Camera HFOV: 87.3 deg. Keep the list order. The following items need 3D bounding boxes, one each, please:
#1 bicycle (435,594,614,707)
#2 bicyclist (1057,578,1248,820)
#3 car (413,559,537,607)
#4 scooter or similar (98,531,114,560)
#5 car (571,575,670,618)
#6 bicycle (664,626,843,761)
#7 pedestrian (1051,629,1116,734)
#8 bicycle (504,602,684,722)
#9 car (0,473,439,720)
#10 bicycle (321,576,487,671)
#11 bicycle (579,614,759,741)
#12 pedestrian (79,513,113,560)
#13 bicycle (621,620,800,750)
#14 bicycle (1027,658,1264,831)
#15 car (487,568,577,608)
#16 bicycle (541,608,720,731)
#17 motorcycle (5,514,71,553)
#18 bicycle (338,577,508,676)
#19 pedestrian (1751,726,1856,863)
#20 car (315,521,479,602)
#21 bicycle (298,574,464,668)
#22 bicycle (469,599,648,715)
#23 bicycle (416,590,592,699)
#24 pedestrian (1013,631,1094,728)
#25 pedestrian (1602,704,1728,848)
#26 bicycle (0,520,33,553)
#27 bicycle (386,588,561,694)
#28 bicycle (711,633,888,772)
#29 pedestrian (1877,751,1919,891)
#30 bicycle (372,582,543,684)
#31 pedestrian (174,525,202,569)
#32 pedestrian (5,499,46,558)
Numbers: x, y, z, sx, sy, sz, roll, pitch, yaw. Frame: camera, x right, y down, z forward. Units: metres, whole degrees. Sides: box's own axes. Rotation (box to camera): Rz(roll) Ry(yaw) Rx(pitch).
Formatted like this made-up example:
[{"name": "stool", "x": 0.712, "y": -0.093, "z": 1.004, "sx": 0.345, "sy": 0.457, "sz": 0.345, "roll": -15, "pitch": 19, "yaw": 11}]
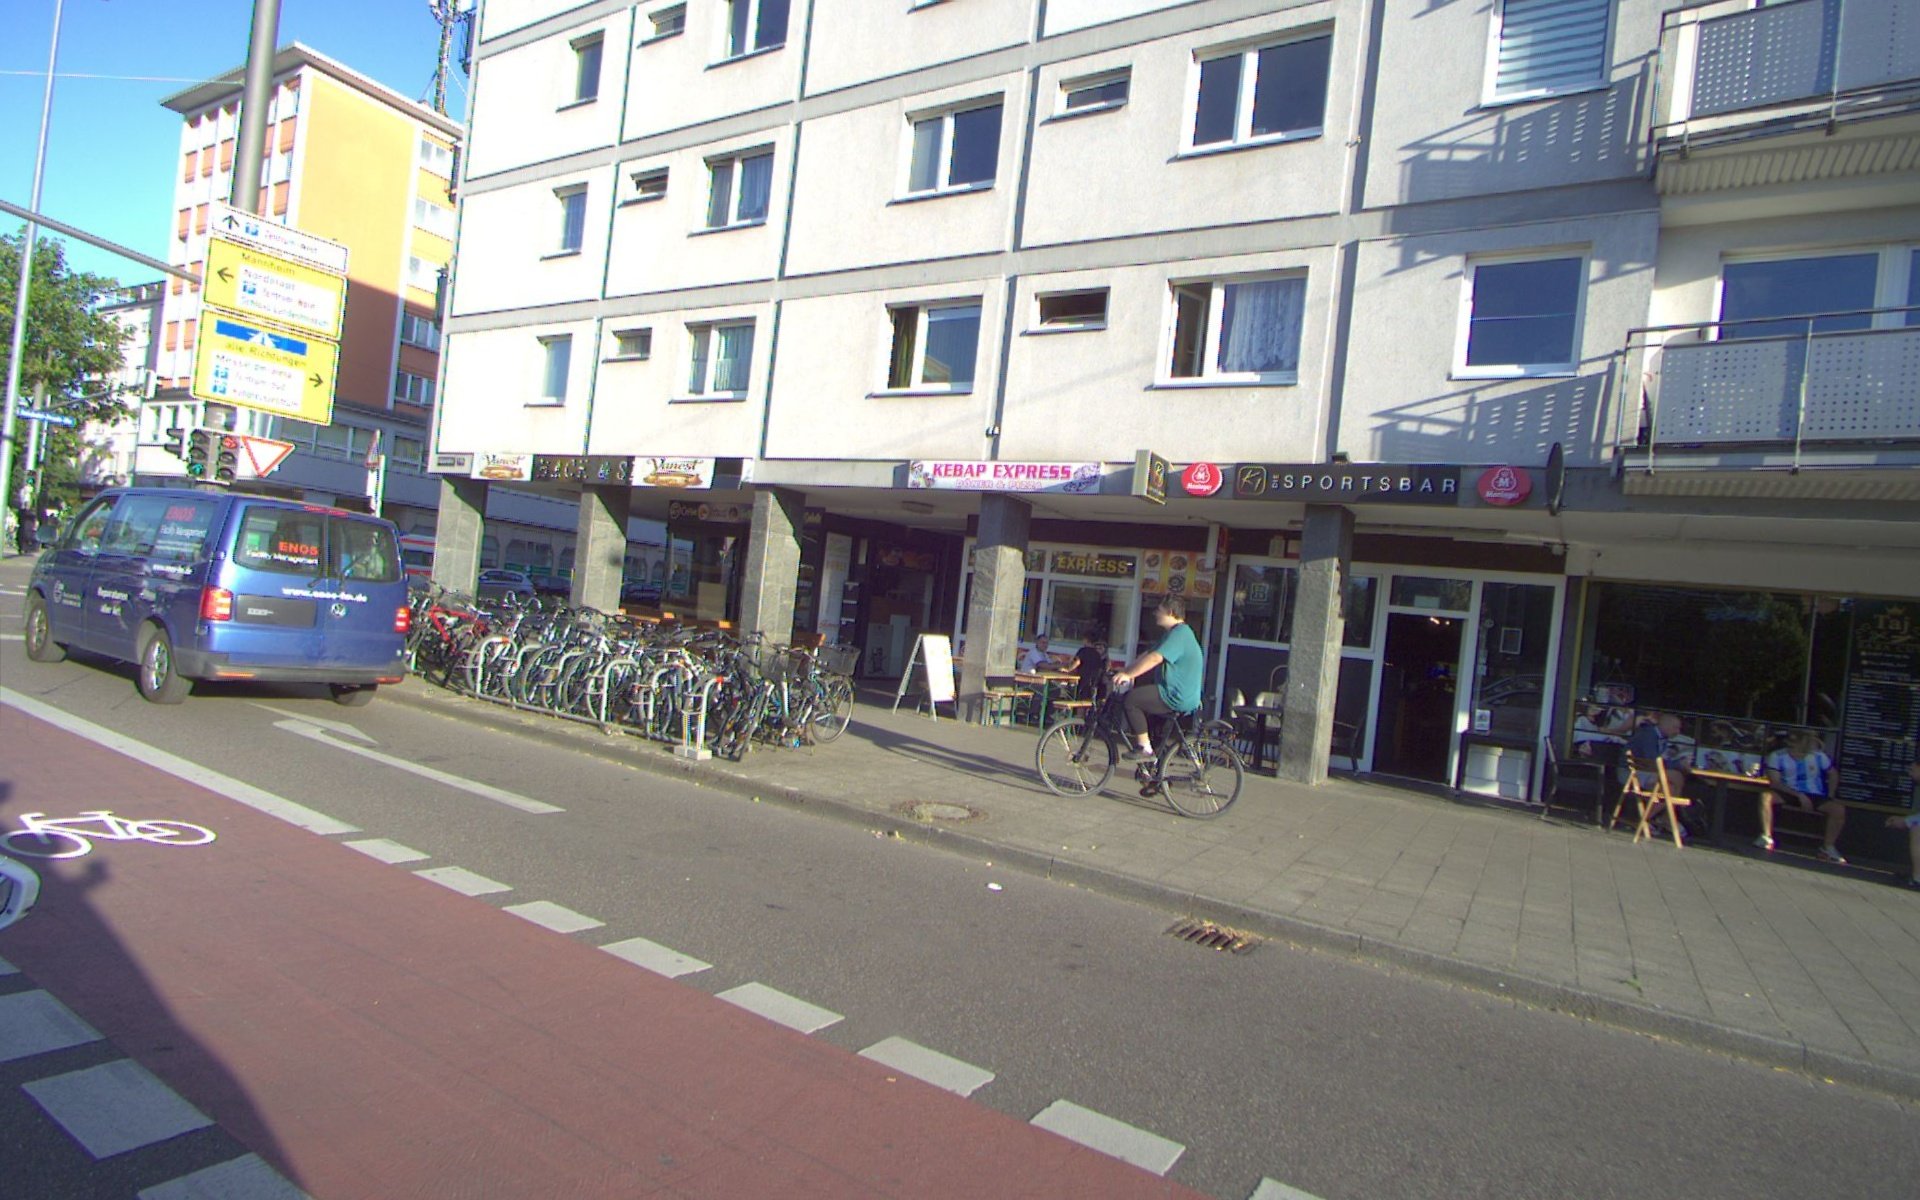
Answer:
[{"name": "bicycle", "x": -4.908, "y": 0.557, "z": 11.473, "sx": 0.558, "sy": 1.140, "sz": 1.869, "roll": 6, "pitch": 2, "yaw": 28}, {"name": "bicyclist", "x": 1.650, "y": 0.820, "z": 8.684, "sx": 1.359, "sy": 1.829, "sz": 0.745, "roll": 6, "pitch": 0, "yaw": 12}, {"name": "car", "x": -19.025, "y": -0.649, "z": 39.612, "sx": 1.777, "sy": 1.393, "sz": 3.992, "roll": 5, "pitch": -2, "yaw": 32}, {"name": "scooter or similar", "x": -39.805, "y": -2.557, "z": 46.875, "sx": 0.413, "sy": 1.269, "sz": 1.170, "roll": 7, "pitch": 0, "yaw": -38}, {"name": "car", "x": -15.491, "y": -0.123, "z": 46.075, "sx": 1.759, "sy": 1.481, "sz": 3.991, "roll": 6, "pitch": -1, "yaw": 33}, {"name": "bicycle", "x": -1.962, "y": 0.857, "z": 9.842, "sx": 0.558, "sy": 1.140, "sz": 1.869, "roll": 6, "pitch": 2, "yaw": 28}, {"name": "pedestrian", "x": 1.715, "y": 1.131, "z": 14.000, "sx": 0.623, "sy": 1.374, "sz": 0.462, "roll": 7, "pitch": 0, "yaw": -20}, {"name": "bicycle", "x": -3.922, "y": 0.644, "z": 10.939, "sx": 0.558, "sy": 1.140, "sz": 1.869, "roll": 6, "pitch": 2, "yaw": 28}, {"name": "car", "x": -7.773, "y": -0.110, "z": 10.424, "sx": 4.752, "sy": 1.957, "sz": 1.939, "roll": 6, "pitch": -1, "yaw": 32}, {"name": "bicycle", "x": -7.350, "y": 0.320, "z": 13.393, "sx": 0.558, "sy": 1.140, "sz": 1.869, "roll": 6, "pitch": 2, "yaw": 28}, {"name": "bicycle", "x": -2.943, "y": 0.761, "z": 10.387, "sx": 0.558, "sy": 1.140, "sz": 1.869, "roll": 6, "pitch": 2, "yaw": 28}, {"name": "pedestrian", "x": -31.695, "y": -2.333, "z": 36.918, "sx": 0.735, "sy": 1.609, "sz": 0.681, "roll": 7, "pitch": 0, "yaw": 37}, {"name": "bicycle", "x": -2.450, "y": 0.805, "z": 10.117, "sx": 0.558, "sy": 1.140, "sz": 1.869, "roll": 6, "pitch": 2, "yaw": 28}, {"name": "bicycle", "x": 1.577, "y": 1.210, "z": 8.657, "sx": 1.838, "sy": 1.192, "sz": 0.568, "roll": 6, "pitch": 2, "yaw": 11}, {"name": "car", "x": -21.583, "y": -0.567, "z": 50.826, "sx": 1.728, "sy": 1.528, "sz": 3.766, "roll": 6, "pitch": -1, "yaw": 34}, {"name": "bicycle", "x": -3.432, "y": 0.701, "z": 10.664, "sx": 0.558, "sy": 1.140, "sz": 1.869, "roll": 6, "pitch": 2, "yaw": 28}, {"name": "motorcycle", "x": -42.029, "y": -3.024, "z": 45.853, "sx": 0.749, "sy": 1.423, "sz": 2.042, "roll": 6, "pitch": -1, "yaw": 40}, {"name": "bicycle", "x": -6.847, "y": 0.347, "z": 12.932, "sx": 0.558, "sy": 1.140, "sz": 1.869, "roll": 6, "pitch": 2, "yaw": 28}, {"name": "pedestrian", "x": 8.684, "y": 1.975, "z": 10.382, "sx": 0.636, "sy": 1.246, "sz": 0.726, "roll": 6, "pitch": 0, "yaw": 33}, {"name": "car", "x": -22.235, "y": -1.460, "z": 39.964, "sx": 1.894, "sy": 2.512, "sz": 5.257, "roll": 6, "pitch": -1, "yaw": 32}, {"name": "bicycle", "x": -7.829, "y": 0.290, "z": 13.694, "sx": 0.596, "sy": 1.140, "sz": 1.869, "roll": 6, "pitch": 2, "yaw": 28}, {"name": "bicycle", "x": -4.415, "y": 0.612, "z": 11.212, "sx": 0.558, "sy": 1.140, "sz": 1.869, "roll": 6, "pitch": 2, "yaw": 28}, {"name": "bicycle", "x": -5.330, "y": 0.515, "z": 11.879, "sx": 0.558, "sy": 1.140, "sz": 1.869, "roll": 6, "pitch": 2, "yaw": 28}, {"name": "pedestrian", "x": 1.360, "y": 1.157, "z": 14.714, "sx": 0.848, "sy": 1.289, "sz": 0.644, "roll": 7, "pitch": 0, "yaw": -21}, {"name": "pedestrian", "x": 7.381, "y": 1.810, "z": 10.571, "sx": 0.939, "sy": 1.310, "sz": 0.645, "roll": 6, "pitch": 0, "yaw": 35}, {"name": "bicycle", "x": -40.293, "y": -2.717, "z": 42.829, "sx": 2.090, "sy": 1.172, "sz": 0.645, "roll": 7, "pitch": 0, "yaw": 34}, {"name": "bicycle", "x": -5.819, "y": 0.482, "z": 12.155, "sx": 0.558, "sy": 1.140, "sz": 1.869, "roll": 6, "pitch": 2, "yaw": 28}, {"name": "bicycle", "x": -1.467, "y": 0.912, "z": 9.577, "sx": 0.558, "sy": 1.140, "sz": 1.869, "roll": 6, "pitch": 2, "yaw": 28}, {"name": "pedestrian", "x": 8.700, "y": 1.986, "z": 8.863, "sx": 0.715, "sy": 1.165, "sz": 0.605, "roll": 6, "pitch": 0, "yaw": 32}, {"name": "bicycle", "x": -6.228, "y": 0.412, "z": 12.573, "sx": 0.558, "sy": 1.140, "sz": 1.869, "roll": 6, "pitch": 2, "yaw": 28}, {"name": "pedestrian", "x": -32.064, "y": -2.191, "z": 41.782, "sx": 0.799, "sy": 1.722, "sz": 0.569, "roll": 7, "pitch": 0, "yaw": 34}, {"name": "pedestrian", "x": -29.546, "y": -2.265, "z": 31.813, "sx": 1.055, "sy": 1.725, "sz": 0.661, "roll": 7, "pitch": 0, "yaw": 37}]
